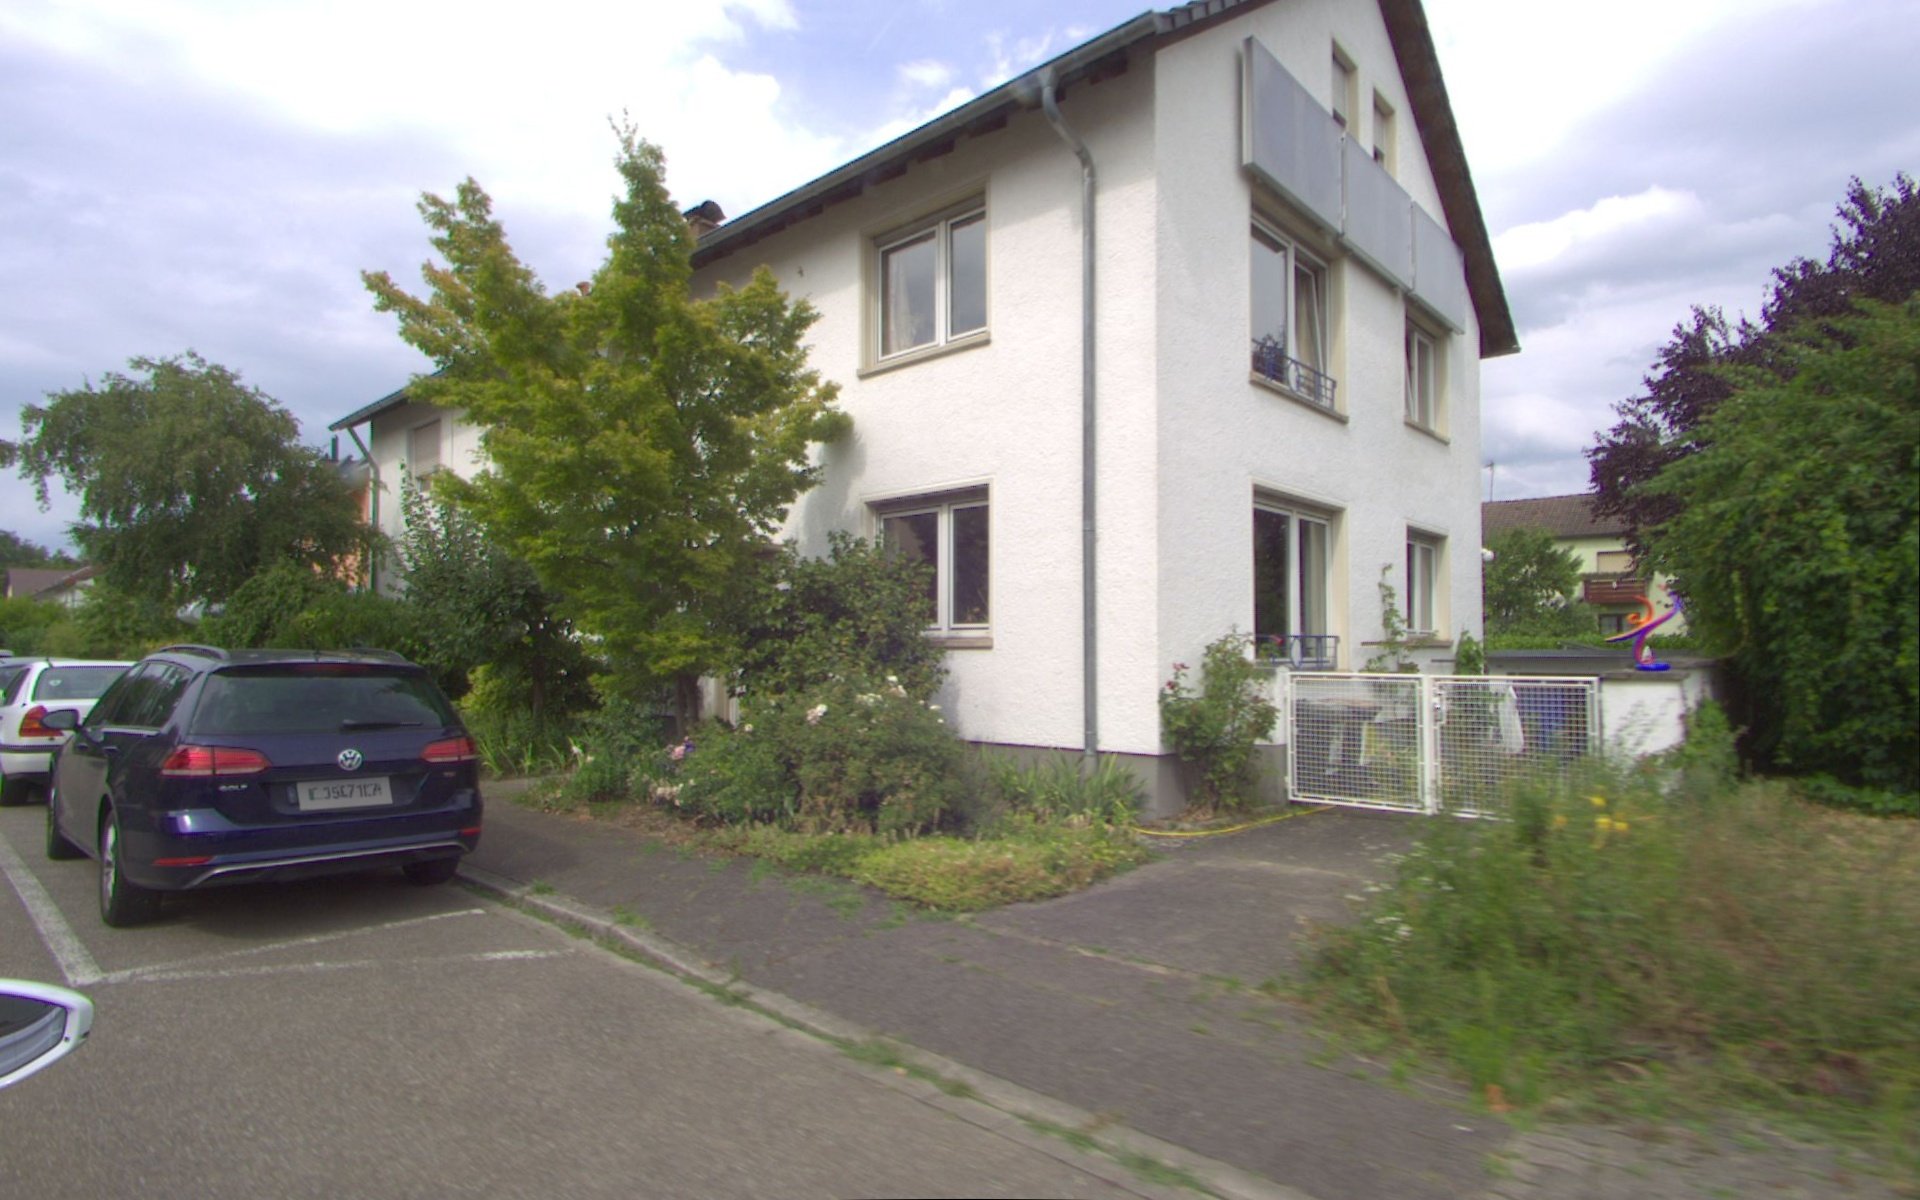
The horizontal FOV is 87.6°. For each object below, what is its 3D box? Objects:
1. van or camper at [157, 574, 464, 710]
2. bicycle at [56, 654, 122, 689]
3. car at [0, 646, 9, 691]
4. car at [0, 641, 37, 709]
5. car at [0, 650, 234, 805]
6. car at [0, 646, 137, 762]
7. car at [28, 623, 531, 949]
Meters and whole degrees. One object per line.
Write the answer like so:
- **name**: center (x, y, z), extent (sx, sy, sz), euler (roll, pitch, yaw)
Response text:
- **van or camper**: center (-15.470, 0.978, 24.206), extent (2.507, 2.854, 5.775), euler (-2, -2, 39)
- **bicycle**: center (-27.276, 2.224, 31.374), extent (1.528, 1.036, 0.373), euler (1, -2, -43)
- **car**: center (-32.499, 2.167, 32.507), extent (4.713, 1.424, 1.860), euler (-2, -4, 41)
- **car**: center (-22.862, 1.702, 23.227), extent (4.597, 1.485, 1.741), euler (-2, -3, 42)
- **car**: center (-9.791, 1.261, 11.269), extent (4.647, 1.382, 1.685), euler (-2, -3, 42)
- **car**: center (-13.802, 1.444, 14.913), extent (4.169, 1.489, 1.734), euler (-2, -2, 41)
- **car**: center (-4.884, 0.936, 6.837), extent (4.800, 1.458, 1.858), euler (-2, -3, 43)
